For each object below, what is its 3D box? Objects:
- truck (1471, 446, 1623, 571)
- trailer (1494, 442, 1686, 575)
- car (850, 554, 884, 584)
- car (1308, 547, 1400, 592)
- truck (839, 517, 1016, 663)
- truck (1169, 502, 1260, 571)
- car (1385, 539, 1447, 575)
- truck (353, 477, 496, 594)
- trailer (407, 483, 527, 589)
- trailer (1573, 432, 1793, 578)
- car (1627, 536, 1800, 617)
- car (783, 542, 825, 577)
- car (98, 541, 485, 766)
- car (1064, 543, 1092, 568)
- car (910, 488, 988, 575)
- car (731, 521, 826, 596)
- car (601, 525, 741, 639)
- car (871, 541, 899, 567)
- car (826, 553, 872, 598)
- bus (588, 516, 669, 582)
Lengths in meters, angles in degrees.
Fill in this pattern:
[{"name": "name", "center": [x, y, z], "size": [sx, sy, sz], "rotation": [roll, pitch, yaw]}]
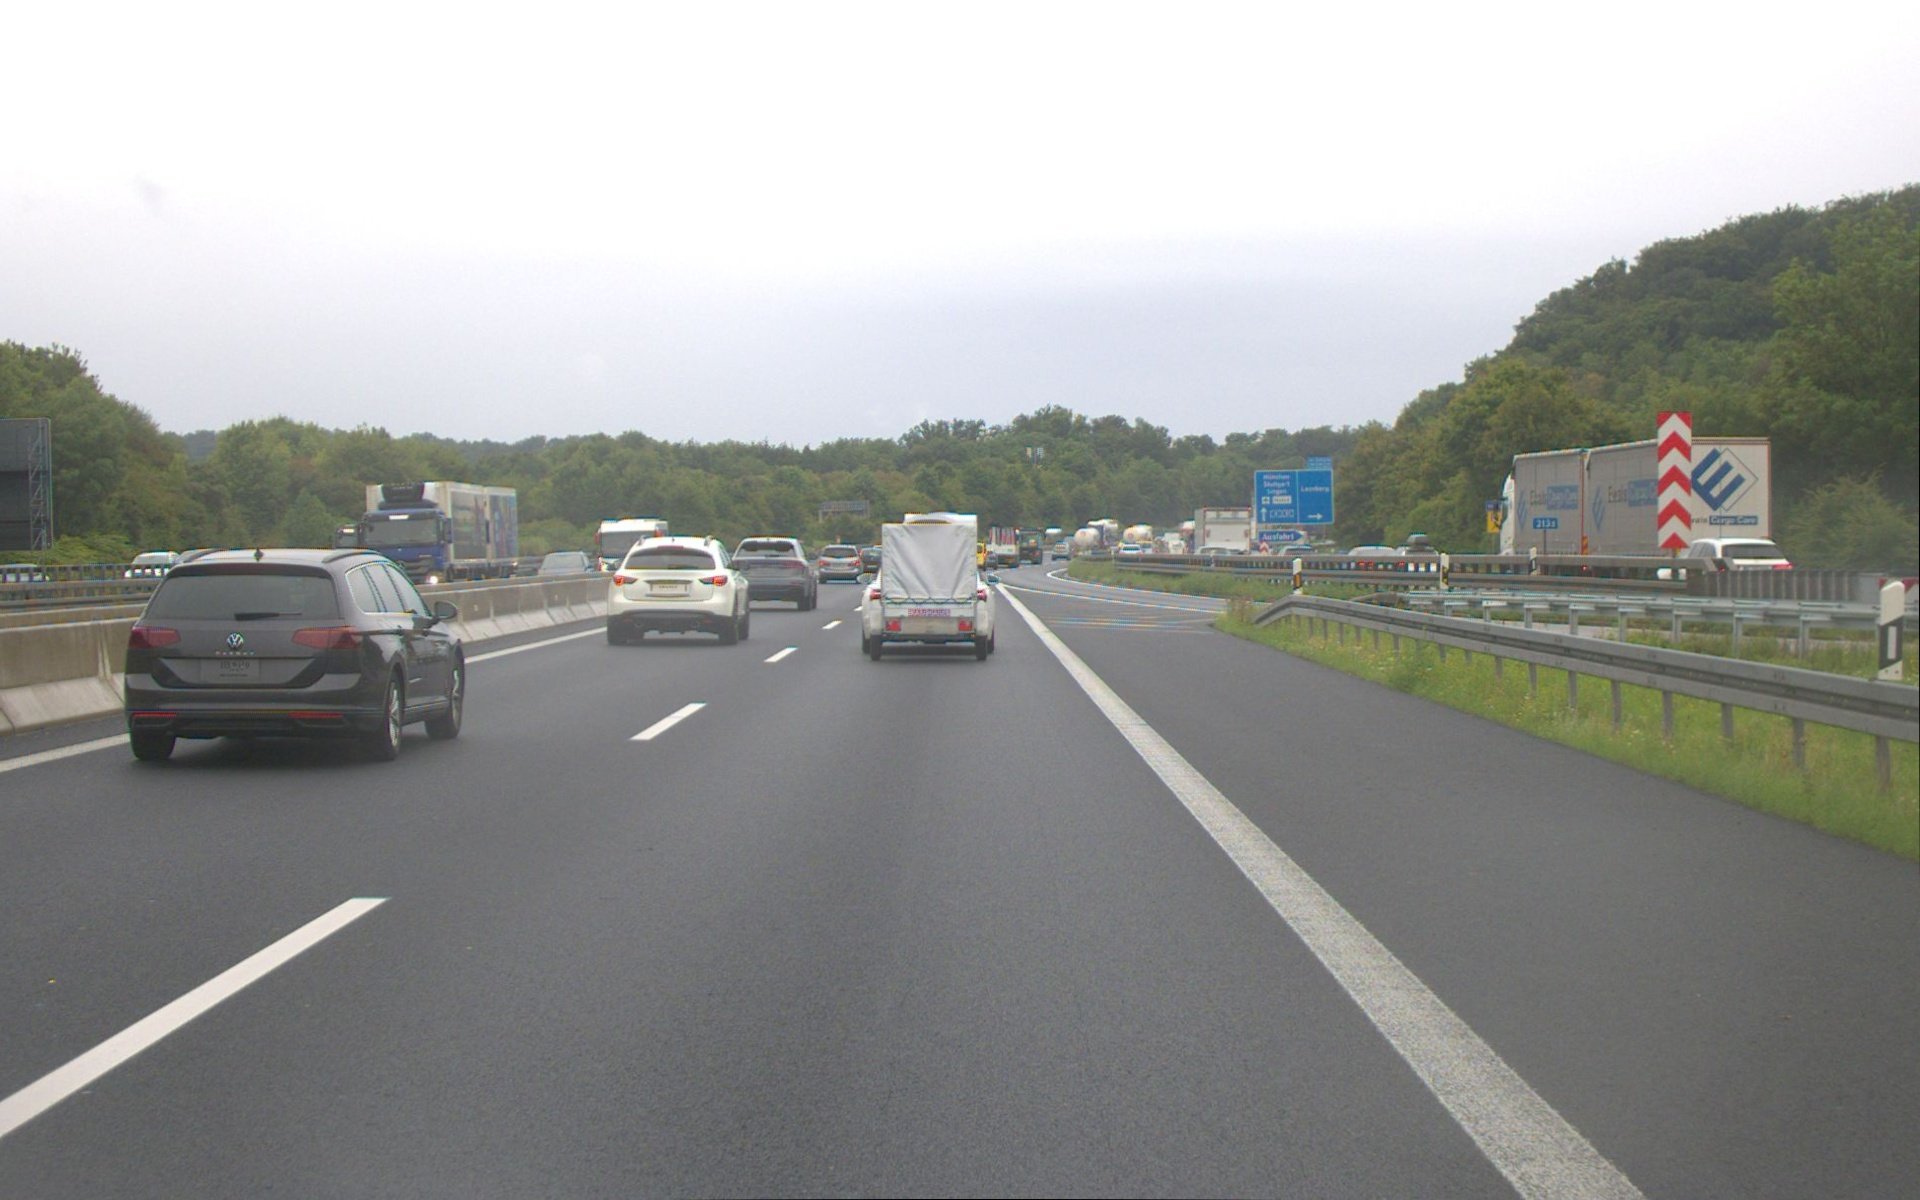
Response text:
[{"name": "truck", "center": [17.155, -2.643, 100.866], "size": [2.937, 3.515, 5.928], "rotation": [1, 1, -5]}, {"name": "trailer", "center": [17.590, -2.519, 96.631], "size": [2.937, 3.515, 8.421], "rotation": [1, 1, -6]}, {"name": "car", "center": [-4.929, -1.648, 182.035], "size": [1.645, 1.568, 4.000], "rotation": [1, 1, 0]}, {"name": "car", "center": [12.718, -1.006, 111.272], "size": [1.986, 1.372, 5.320], "rotation": [0, 1, -4]}, {"name": "truck", "center": [-0.454, -0.180, 47.355], "size": [2.242, 1.833, 6.585], "rotation": [1, 1, -1]}, {"name": "truck", "center": [14.025, -3.502, 190.193], "size": [3.824, 3.646, 8.273], "rotation": [1, 1, -4]}, {"name": "car", "center": [16.617, -1.562, 125.469], "size": [1.697, 1.284, 3.535], "rotation": [1, 1, -1]}, {"name": "truck", "center": [-17.039, -2.043, 110.148], "size": [2.808, 3.512, 10.641], "rotation": [1, 1, 0]}, {"name": "trailer", "center": [-17.083, -2.203, 119.567], "size": [2.943, 3.504, 8.052], "rotation": [1, 1, 0]}, {"name": "trailer", "center": [18.477, -2.390, 88.433], "size": [3.077, 3.515, 8.087], "rotation": [1, 1, -7]}, {"name": "car", "center": [15.589, -0.498, 71.401], "size": [1.993, 1.611, 5.080], "rotation": [0, 1, -6]}, {"name": "car", "center": [-7.589, -1.995, 167.539], "size": [1.819, 1.656, 4.017], "rotation": [0, 1, 0]}, {"name": "car", "center": [-4.701, 0.310, 24.863], "size": [1.787, 1.454, 4.802], "rotation": [1, 1, 1]}, {"name": "car", "center": [7.506, -2.824, 219.520], "size": [1.645, 1.568, 4.000], "rotation": [1, 1, 0]}, {"name": "car", "center": [-0.392, -2.221, 110.427], "size": [2.331, 2.716, 6.541], "rotation": [0, 1, -1]}, {"name": "car", "center": [-4.242, -0.990, 81.058], "size": [1.975, 1.697, 4.802], "rotation": [1, 1, 0]}, {"name": "car", "center": [-4.492, -0.305, 53.177], "size": [2.048, 1.665, 4.542], "rotation": [1, 1, -5]}, {"name": "car", "center": [-4.727, -2.901, 216.944], "size": [1.645, 1.568, 4.000], "rotation": [1, 1, 0]}, {"name": "car", "center": [-4.566, -1.016, 142.033], "size": [1.738, 1.787, 4.000], "rotation": [1, 1, 0]}, {"name": "bus", "center": [-13.535, -2.092, 140.866], "size": [2.541, 2.577, 8.271], "rotation": [1, 1, 0]}]
